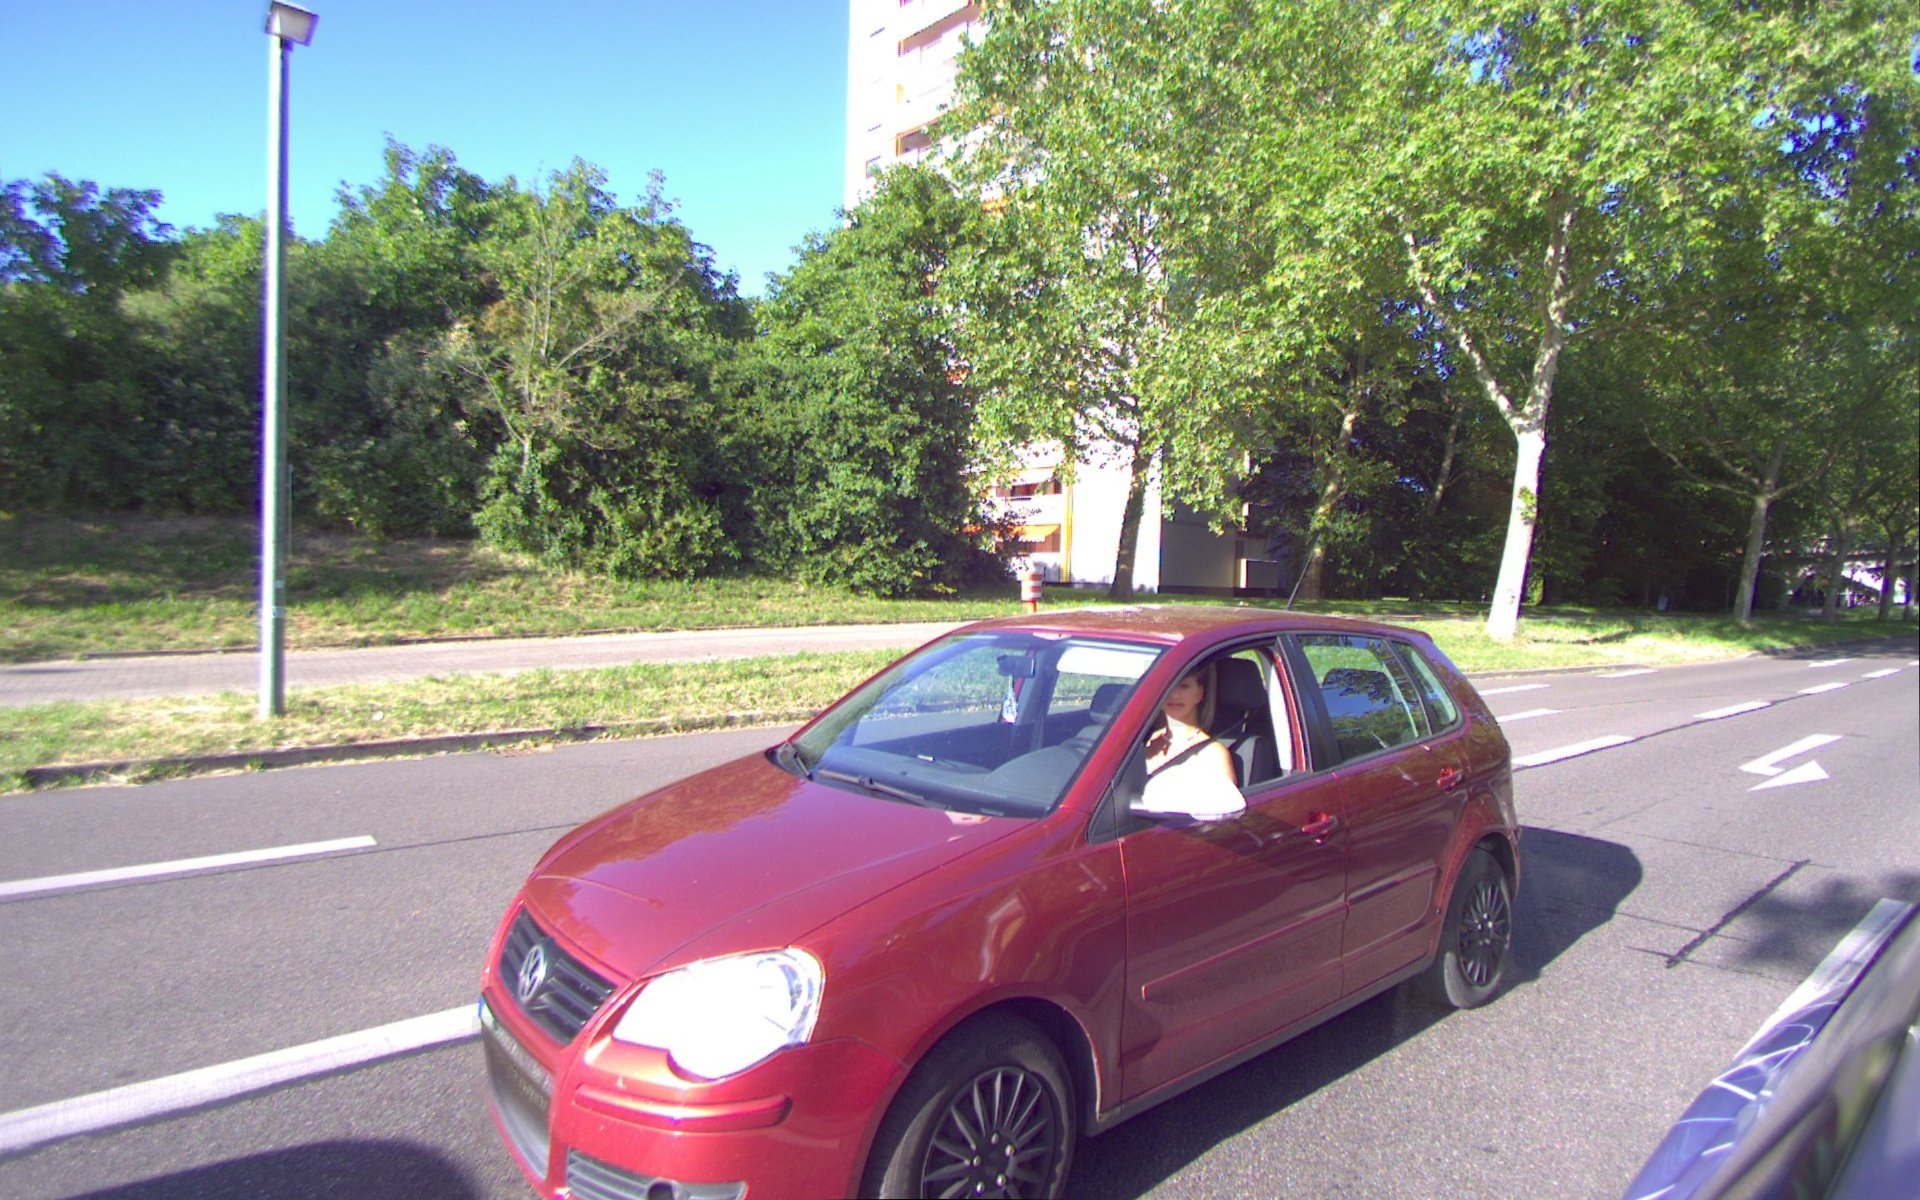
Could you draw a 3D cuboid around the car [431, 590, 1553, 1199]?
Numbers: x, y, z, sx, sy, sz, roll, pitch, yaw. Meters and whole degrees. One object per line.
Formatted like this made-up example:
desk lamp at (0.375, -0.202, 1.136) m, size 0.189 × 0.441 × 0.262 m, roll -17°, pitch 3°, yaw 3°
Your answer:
car at (0.408, 0.704, 3.465) m, size 3.694 × 1.456 × 1.645 m, roll -1°, pitch 1°, yaw -40°
